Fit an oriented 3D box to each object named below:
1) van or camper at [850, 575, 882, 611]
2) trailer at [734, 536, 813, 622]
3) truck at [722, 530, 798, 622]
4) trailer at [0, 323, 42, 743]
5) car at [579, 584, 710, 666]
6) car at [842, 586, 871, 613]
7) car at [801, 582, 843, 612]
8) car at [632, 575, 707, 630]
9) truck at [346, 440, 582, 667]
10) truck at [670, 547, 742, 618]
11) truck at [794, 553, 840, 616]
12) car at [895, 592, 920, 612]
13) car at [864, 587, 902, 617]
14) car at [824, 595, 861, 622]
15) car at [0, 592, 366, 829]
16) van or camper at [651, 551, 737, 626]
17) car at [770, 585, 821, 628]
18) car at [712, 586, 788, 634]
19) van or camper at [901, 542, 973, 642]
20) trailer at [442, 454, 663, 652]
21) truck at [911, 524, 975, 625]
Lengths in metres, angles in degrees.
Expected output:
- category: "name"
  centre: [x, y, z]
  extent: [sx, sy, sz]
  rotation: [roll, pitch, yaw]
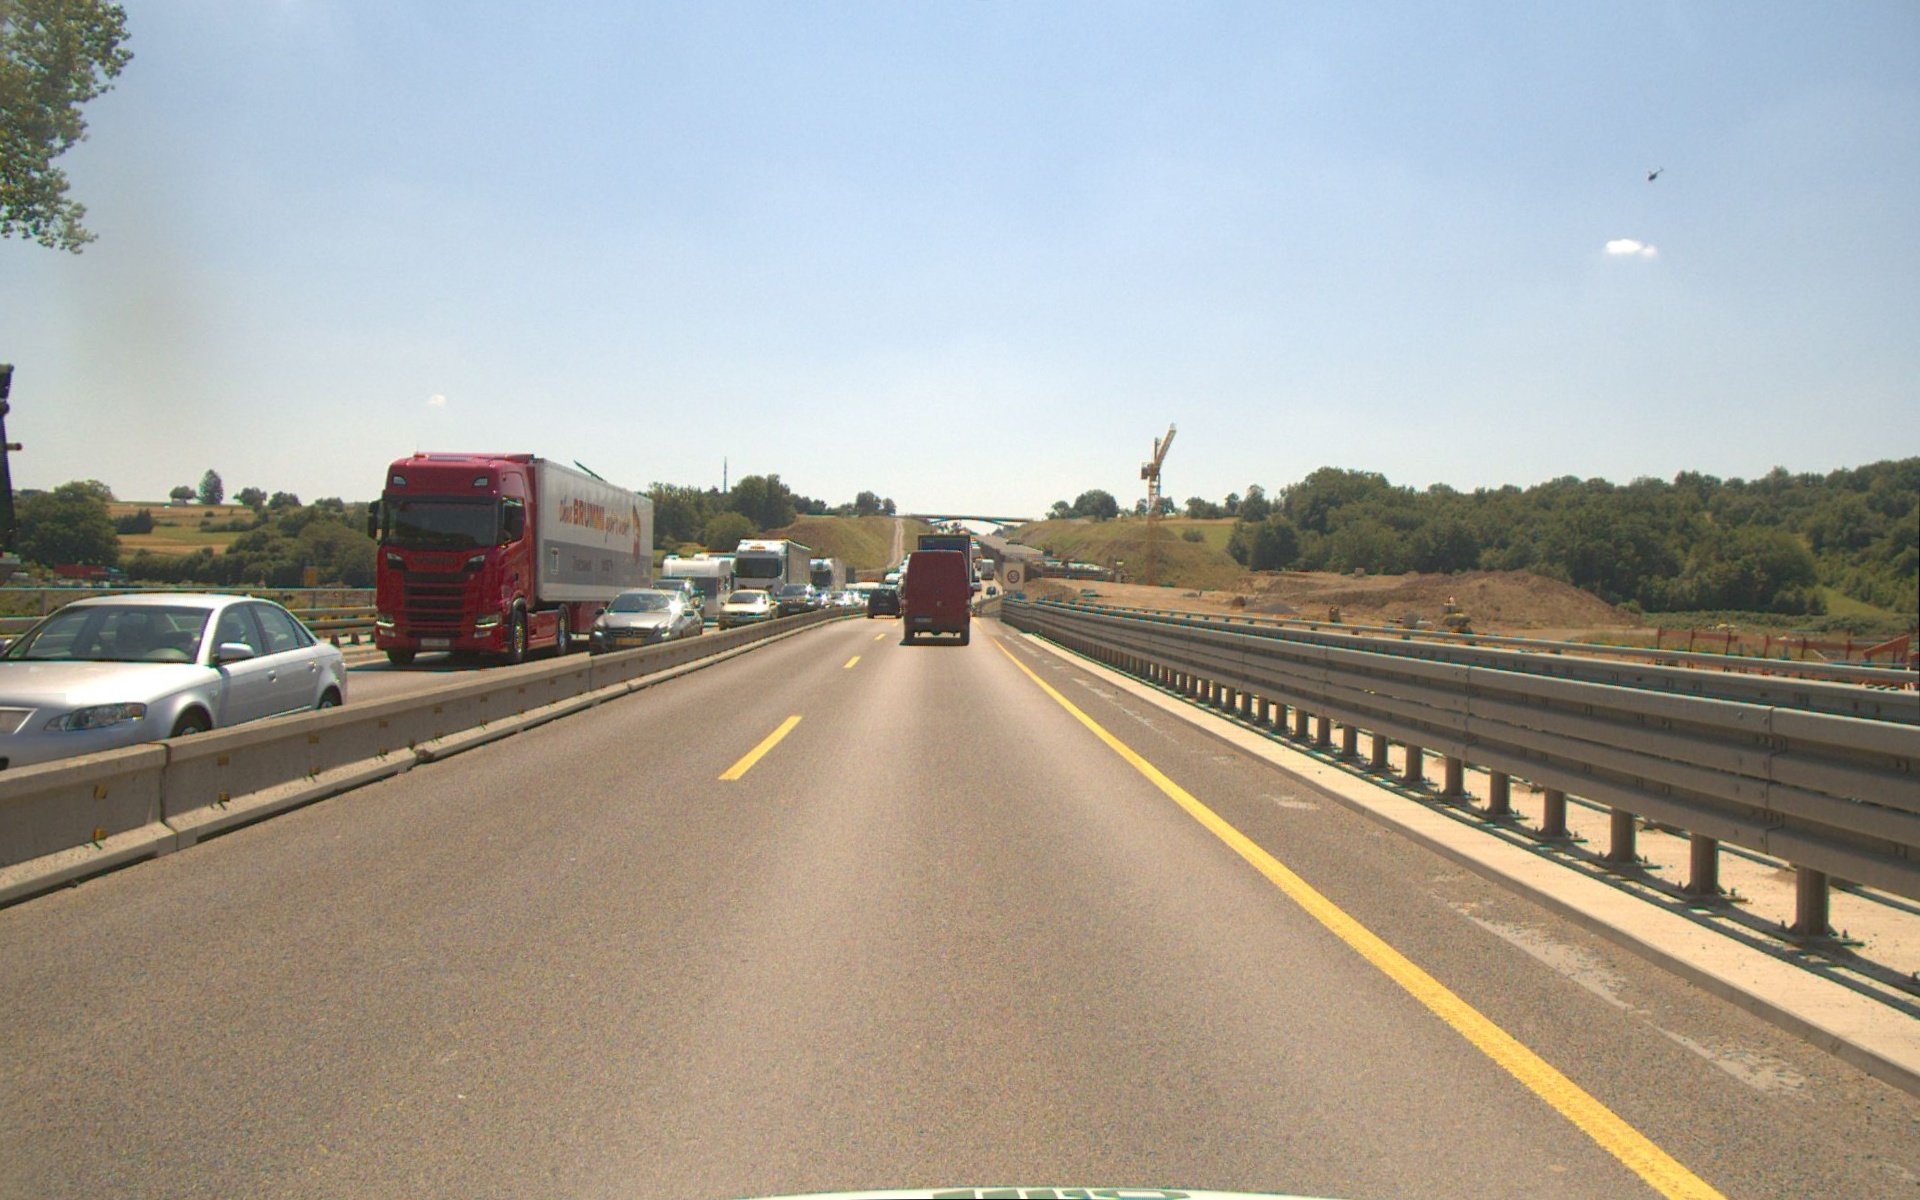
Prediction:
- category: "van or camper"
  centre: [-7.240, -0.563, 128.343]
  extent: [2.174, 2.555, 6.531]
  rotation: [3, 0, -2]
- category: "trailer"
  centre: [-10.488, -1.166, 94.455]
  extent: [3.038, 4.543, 13.019]
  rotation: [0, 0, 0]
- category: "truck"
  centre: [-10.446, -1.230, 87.052]
  extent: [3.015, 4.616, 7.103]
  rotation: [1, 0, 0]
- category: "trailer"
  centre: [-9.792, -0.603, 10.866]
  extent: [2.738, 3.737, 8.953]
  rotation: [1, 0, -2]
- category: "car"
  centre: [-6.507, 0.465, 34.636]
  extent: [1.852, 1.513, 4.919]
  rotation: [3, 0, -1]
- category: "car"
  centre: [-6.950, -0.041, 111.325]
  extent: [1.721, 1.675, 4.155]
  rotation: [2, 0, -1]
- category: "car"
  centre: [-7.089, -0.157, 85.336]
  extent: [1.741, 1.445, 4.537]
  rotation: [2, 0, 0]
- category: "car"
  centre: [-9.978, 0.067, 57.076]
  extent: [1.731, 1.765, 4.790]
  rotation: [2, 0, -1]
- category: "truck"
  centre: [-9.830, -0.892, 33.530]
  extent: [2.758, 4.107, 6.522]
  rotation: [1, 1, 0]
- category: "truck"
  centre: [-14.504, -1.022, 95.033]
  extent: [2.845, 3.830, 8.367]
  rotation: [2, 1, -1]
- category: "truck"
  centre: [-10.404, -1.126, 120.901]
  extent: [2.749, 4.469, 6.225]
  rotation: [0, 0, 0]
- category: "car"
  centre: [-4.288, 0.159, 135.887]
  extent: [1.971, 1.572, 4.131]
  rotation: [2, 0, -1]
- category: "car"
  centre: [-4.156, 0.115, 89.524]
  extent: [1.971, 1.572, 4.131]
  rotation: [1, 0, -2]
- category: "car"
  centre: [-6.990, 0.485, 98.791]
  extent: [1.827, 1.484, 4.607]
  rotation: [2, 0, 0]
- category: "car"
  centre: [-6.057, 0.661, 12.271]
  extent: [1.745, 1.404, 4.709]
  rotation: [-1, 0, -2]
- category: "van or camper"
  centre: [-10.196, -0.453, 63.849]
  extent: [2.452, 2.746, 5.243]
  rotation: [1, 0, 0]
- category: "car"
  centre: [-7.119, 0.252, 71.943]
  extent: [1.810, 1.717, 4.617]
  rotation: [2, 0, -1]
- category: "car"
  centre: [-7.116, 0.313, 56.383]
  extent: [1.861, 1.487, 4.196]
  rotation: [-1, 1, 3]
- category: "van or camper"
  centre: [-0.733, -0.234, 49.126]
  extent: [1.988, 2.792, 4.513]
  rotation: [1, 0, -3]
- category: "trailer"
  centre: [-9.884, -1.100, 41.723]
  extent: [2.749, 4.249, 11.797]
  rotation: [1, 1, -1]
- category: "truck"
  centre: [-0.919, -1.246, 82.759]
  extent: [2.960, 4.775, 6.929]
  rotation: [-1, 0, -2]
